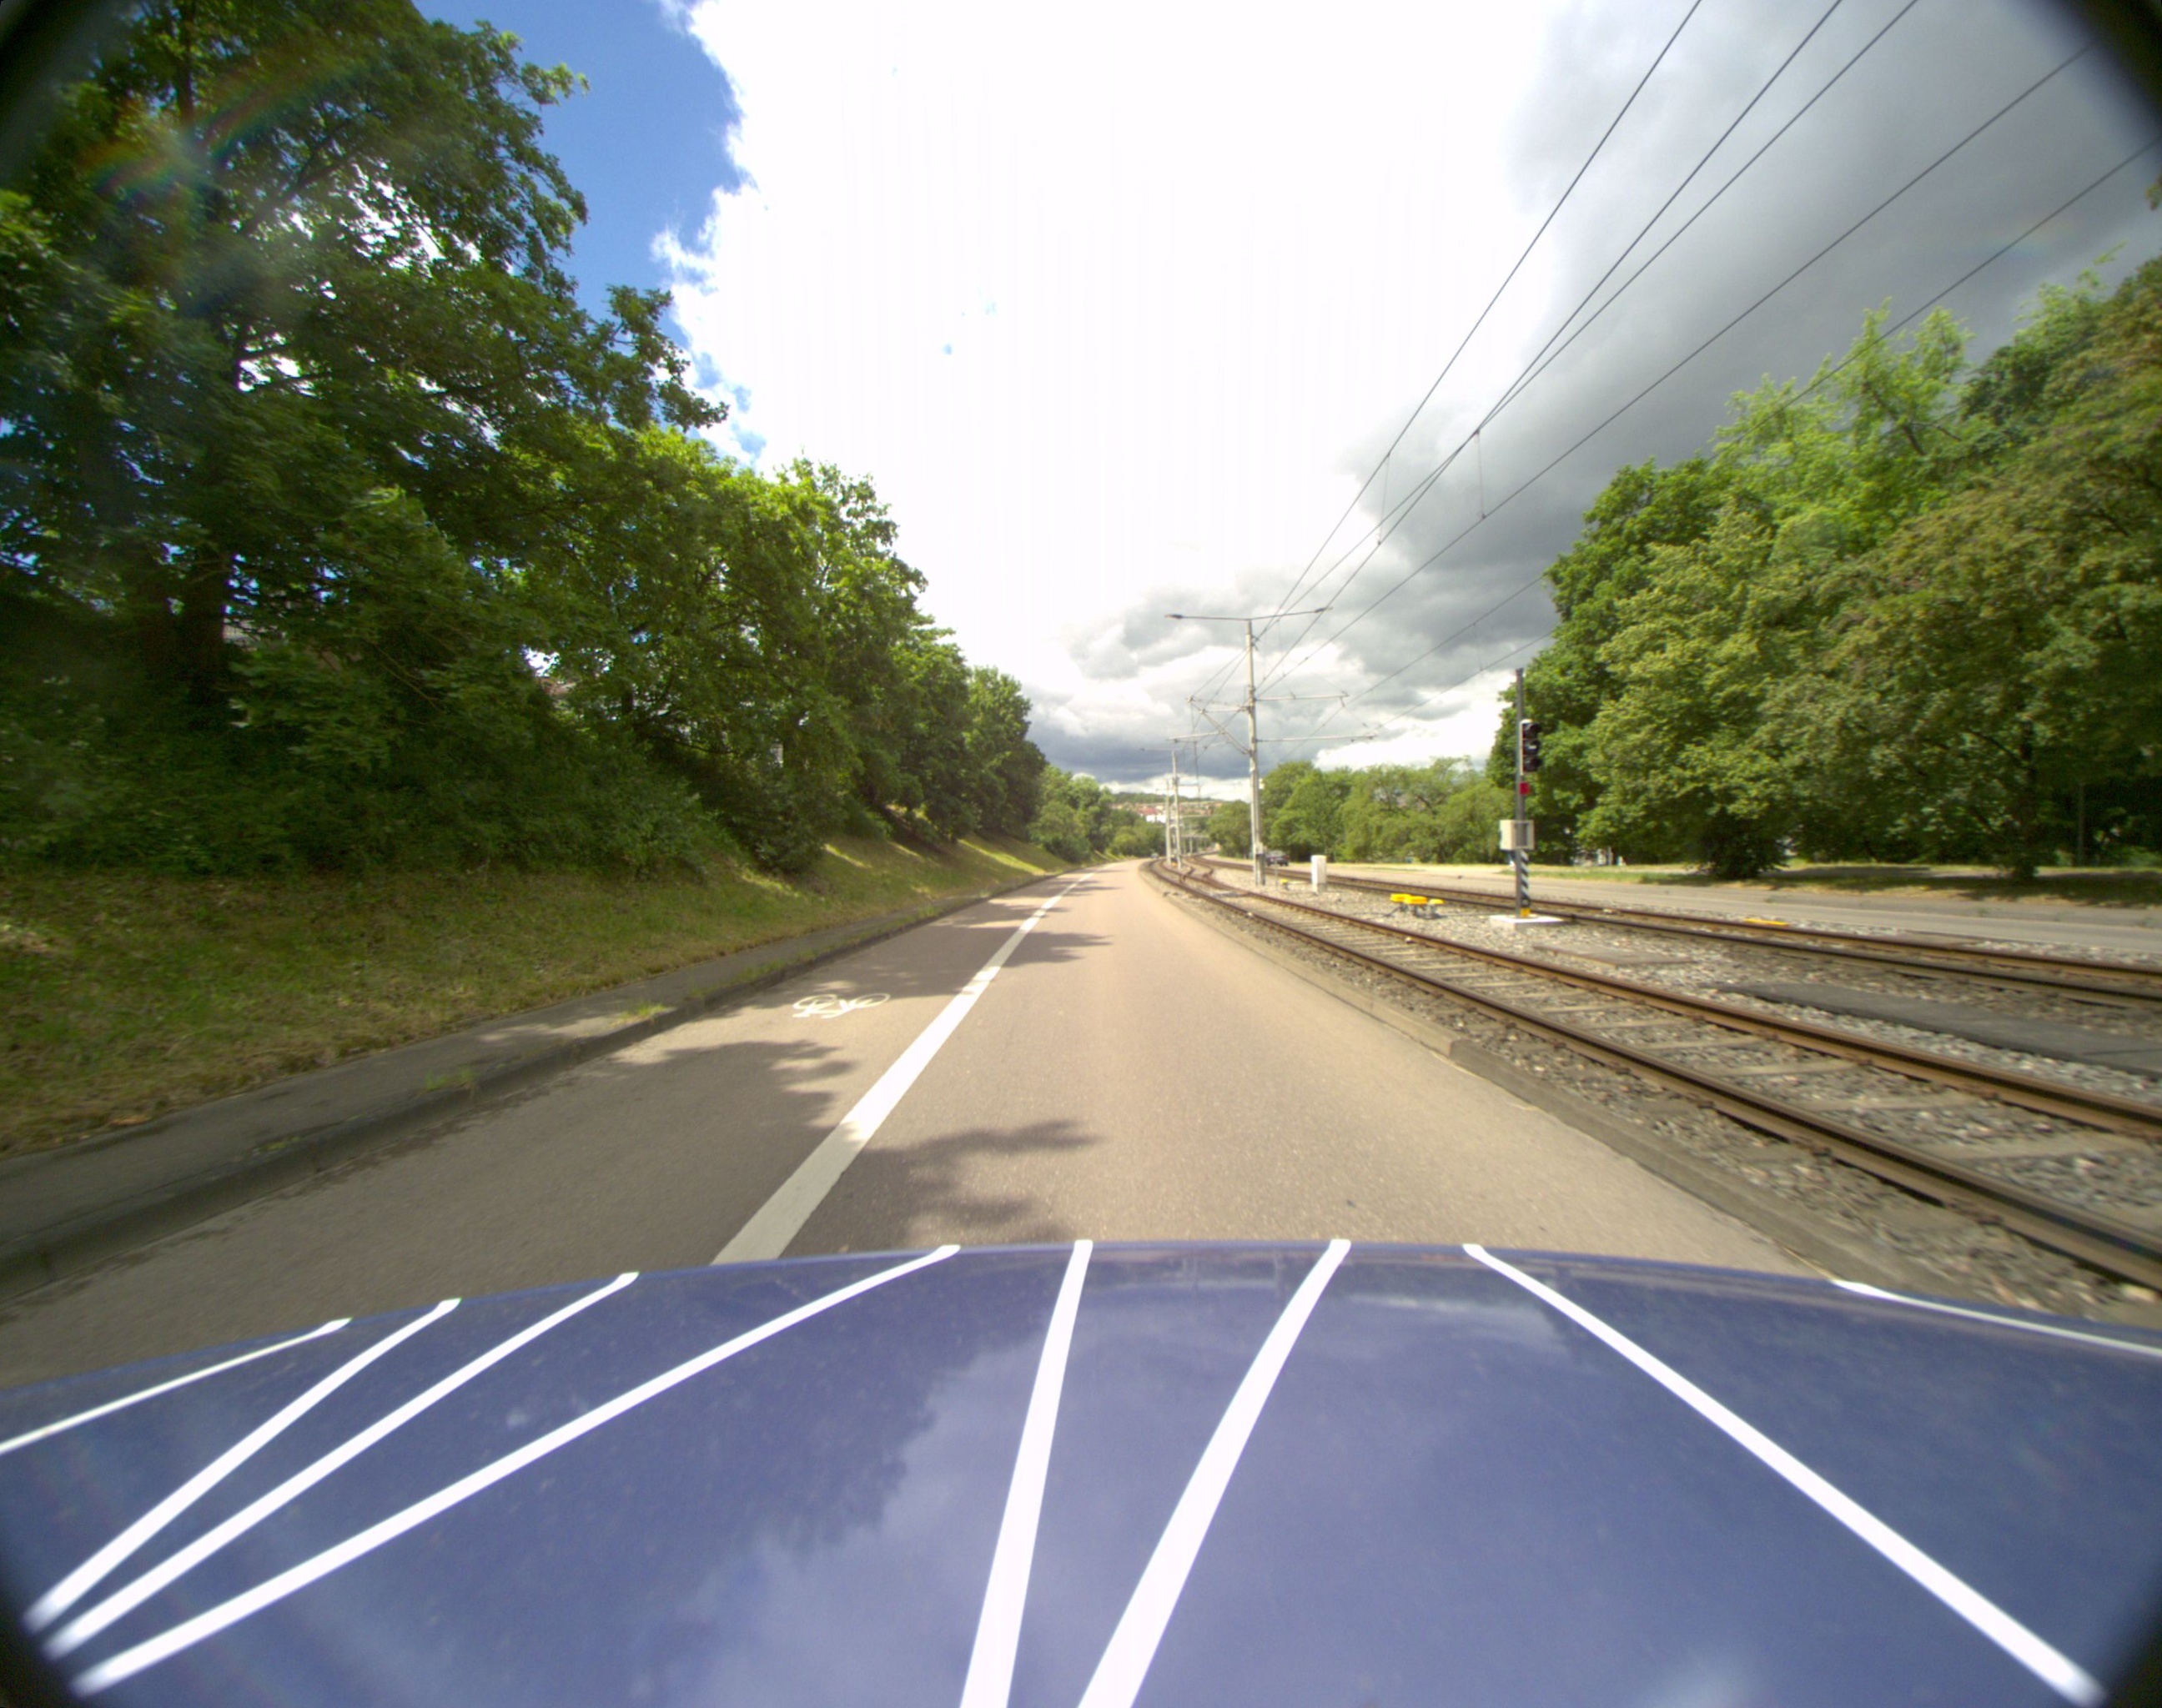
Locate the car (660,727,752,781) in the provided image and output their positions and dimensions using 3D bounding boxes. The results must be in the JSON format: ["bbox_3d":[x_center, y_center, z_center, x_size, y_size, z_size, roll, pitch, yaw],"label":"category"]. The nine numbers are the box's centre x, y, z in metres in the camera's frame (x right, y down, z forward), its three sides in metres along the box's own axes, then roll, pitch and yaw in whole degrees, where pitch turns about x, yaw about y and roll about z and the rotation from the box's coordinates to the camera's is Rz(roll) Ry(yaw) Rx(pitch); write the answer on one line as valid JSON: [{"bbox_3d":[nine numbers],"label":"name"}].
[{"bbox_3d":[-15.558,-4.113,31.771,1.648,1.677,4.044,-2,0,3],"label":"car"}]

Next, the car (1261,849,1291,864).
[{"bbox_3d":[18.068,0.209,70.542,1.840,1.383,4.863,0,0,3],"label":"car"}]

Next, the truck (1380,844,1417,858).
[{"bbox_3d":[65.285,-0.562,156.516,6.613,2.839,2.681,1,1,10],"label":"truck"}]

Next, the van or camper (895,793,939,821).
[{"bbox_3d":[-14.174,-4.013,65.965,2.222,2.057,6.162,-2,0,2],"label":"van or camper"}]
